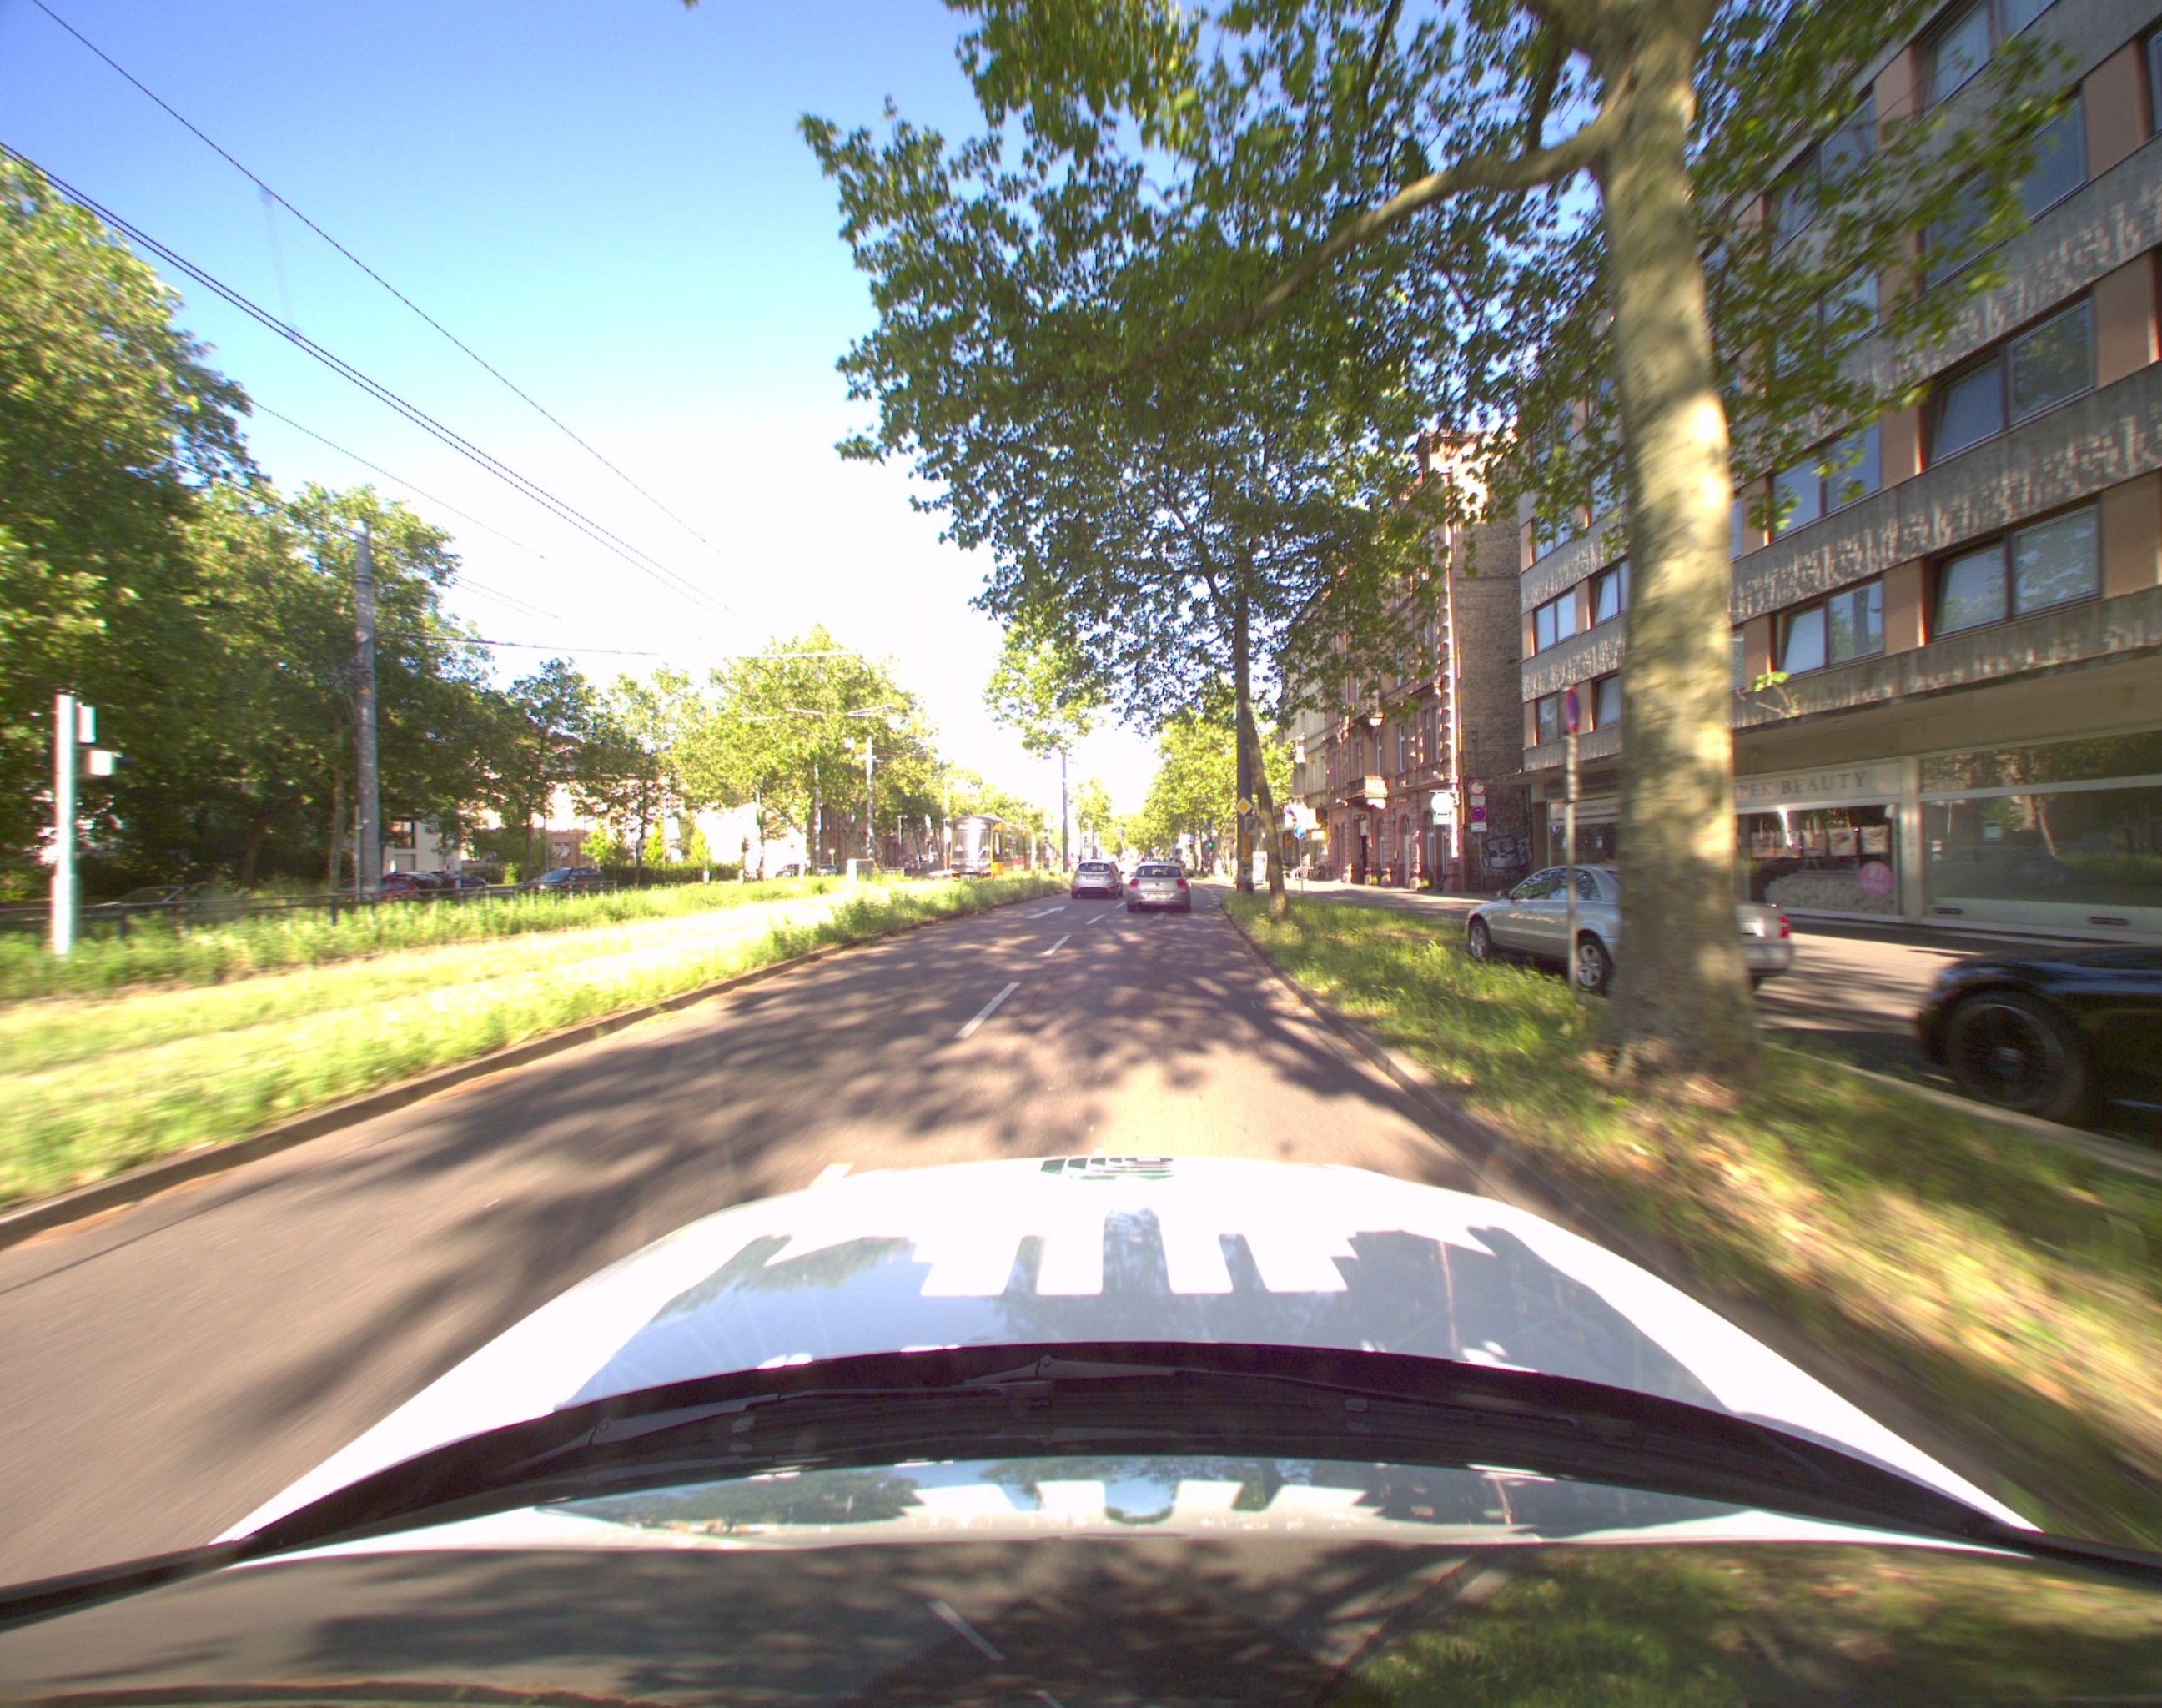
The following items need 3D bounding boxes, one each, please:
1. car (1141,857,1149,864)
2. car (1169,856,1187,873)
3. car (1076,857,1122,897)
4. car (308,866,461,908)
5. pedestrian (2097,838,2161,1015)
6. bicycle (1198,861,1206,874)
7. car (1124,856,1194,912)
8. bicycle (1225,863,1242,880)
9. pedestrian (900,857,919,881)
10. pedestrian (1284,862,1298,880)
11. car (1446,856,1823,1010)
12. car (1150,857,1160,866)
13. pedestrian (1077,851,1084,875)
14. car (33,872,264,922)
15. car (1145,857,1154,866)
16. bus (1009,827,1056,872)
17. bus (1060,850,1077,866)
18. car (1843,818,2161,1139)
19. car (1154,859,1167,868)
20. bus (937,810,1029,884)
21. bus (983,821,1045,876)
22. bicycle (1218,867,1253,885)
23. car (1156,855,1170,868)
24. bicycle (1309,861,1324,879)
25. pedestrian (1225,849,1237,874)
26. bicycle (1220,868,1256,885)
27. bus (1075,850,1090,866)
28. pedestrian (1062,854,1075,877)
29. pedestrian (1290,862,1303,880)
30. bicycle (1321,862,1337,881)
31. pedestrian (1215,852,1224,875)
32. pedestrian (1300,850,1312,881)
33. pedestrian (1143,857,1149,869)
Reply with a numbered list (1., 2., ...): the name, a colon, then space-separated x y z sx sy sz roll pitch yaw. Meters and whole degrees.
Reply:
1. car: 14.715 1.494 186.367 1.694 1.534 3.719 1 0 2
2. car: 11.543 1.216 97.421 1.748 1.965 4.739 0 0 2
3. car: 0.722 0.814 30.952 1.640 1.363 3.762 1 0 2
4. car: -25.254 1.145 29.735 1.985 1.310 4.004 1 1 3
5. pedestrian: 11.280 0.730 8.271 0.996 1.760 0.715 1 0 2
6. bicycle: 9.692 1.094 65.268 0.426 0.970 1.751 1 0 2
7. car: 2.214 0.823 24.013 1.756 1.432 4.001 1 0 1
8. bicycle: 9.605 1.114 51.270 0.443 0.993 1.681 1 0 -12
9. pedestrian: -12.082 1.046 57.444 1.175 1.643 0.891 -1 -1 -6
10. pedestrian: 14.009 1.132 54.441 0.775 1.161 0.466 1 0 -23
11. car: 6.346 0.766 10.114 1.694 1.424 4.518 1 0 1
12. car: 13.111 1.350 144.249 1.663 1.551 4.002 1 0 2
13. pedestrian: -0.033 0.718 65.031 0.450 1.903 0.583 -1 -1 -5
14. car: -25.910 1.142 22.868 1.785 1.178 4.001 1 0 1
15. car: 14.226 1.548 169.965 1.718 1.880 4.002 1 0 2
16. bus: -3.969 -0.316 69.462 2.858 3.444 11.617 -1 0 2
17. bus: -3.055 0.946 204.179 2.858 3.628 24.617 -1 0 2
18. car: 5.890 0.589 2.987 1.798 1.490 4.923 1 0 3
19. car: 13.526 1.597 138.974 1.986 1.509 4.600 1 -1 2
20. bus: -5.029 -0.318 44.779 2.858 3.444 13.224 -1 0 2
21. bus: -4.484 -0.307 57.417 2.858 3.444 12.221 -1 0 2
22. bicycle: 9.074 1.297 47.880 2.007 0.993 0.444 1 0 -1
23. car: 11.336 0.988 112.811 1.685 1.658 4.041 -1 1 2
24. bicycle: 14.327 0.968 49.611 0.441 0.993 1.689 1 0 1
25. pedestrian: 12.307 0.593 66.744 0.878 2.013 0.858 1 0 5
26. bicycle: 9.110 1.304 47.310 1.997 0.993 0.444 1 0 -1
27. bus: 0.466 0.890 201.406 2.739 3.625 18.858 -1 0 2
28. pedestrian: -1.007 0.928 66.113 1.069 1.916 1.127 -1 0 0
29. pedestrian: 14.269 1.117 53.870 0.645 1.161 0.609 1 0 -9
30. bicycle: 14.252 1.002 46.767 0.441 0.993 1.689 1 0 1
31. pedestrian: 10.493 0.711 61.878 0.638 1.771 0.870 1 0 8
32. pedestrian: 13.659 0.694 49.410 0.463 1.810 0.779 1 0 33
33. pedestrian: 10.433 1.478 131.389 0.833 2.013 0.650 1 0 9
